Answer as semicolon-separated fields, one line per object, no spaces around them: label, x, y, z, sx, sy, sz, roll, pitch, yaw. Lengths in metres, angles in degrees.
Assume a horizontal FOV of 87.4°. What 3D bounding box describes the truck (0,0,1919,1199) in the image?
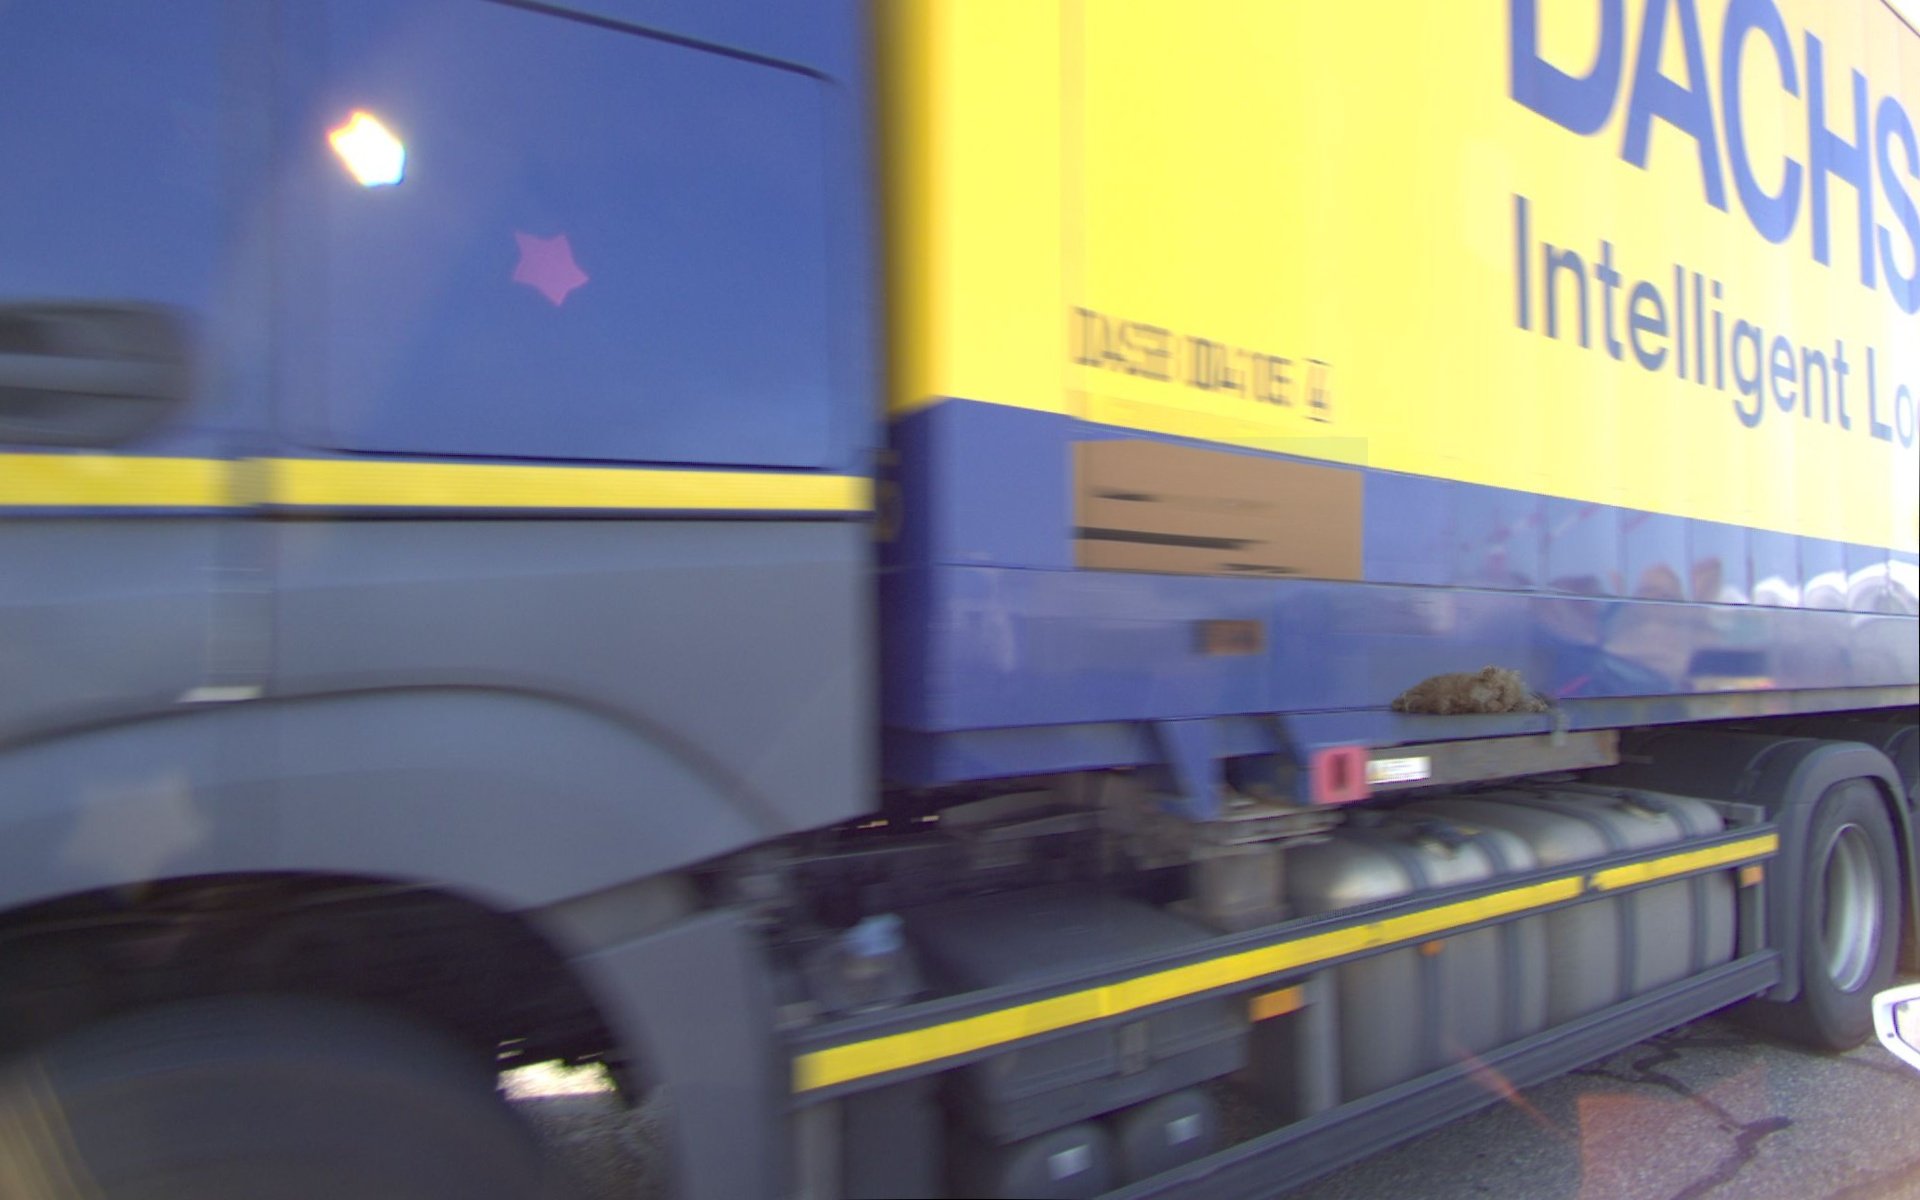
truck;1.962;-0.490;4.135;10.261;4.199;2.486;1;-3;-31

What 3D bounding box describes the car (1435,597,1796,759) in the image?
car;7.973;0.856;12.141;4.396;1.647;1.894;1;-1;-30

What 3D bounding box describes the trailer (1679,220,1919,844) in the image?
trailer;9.975;-0.387;9.057;8.400;4.199;2.486;1;-3;-31
